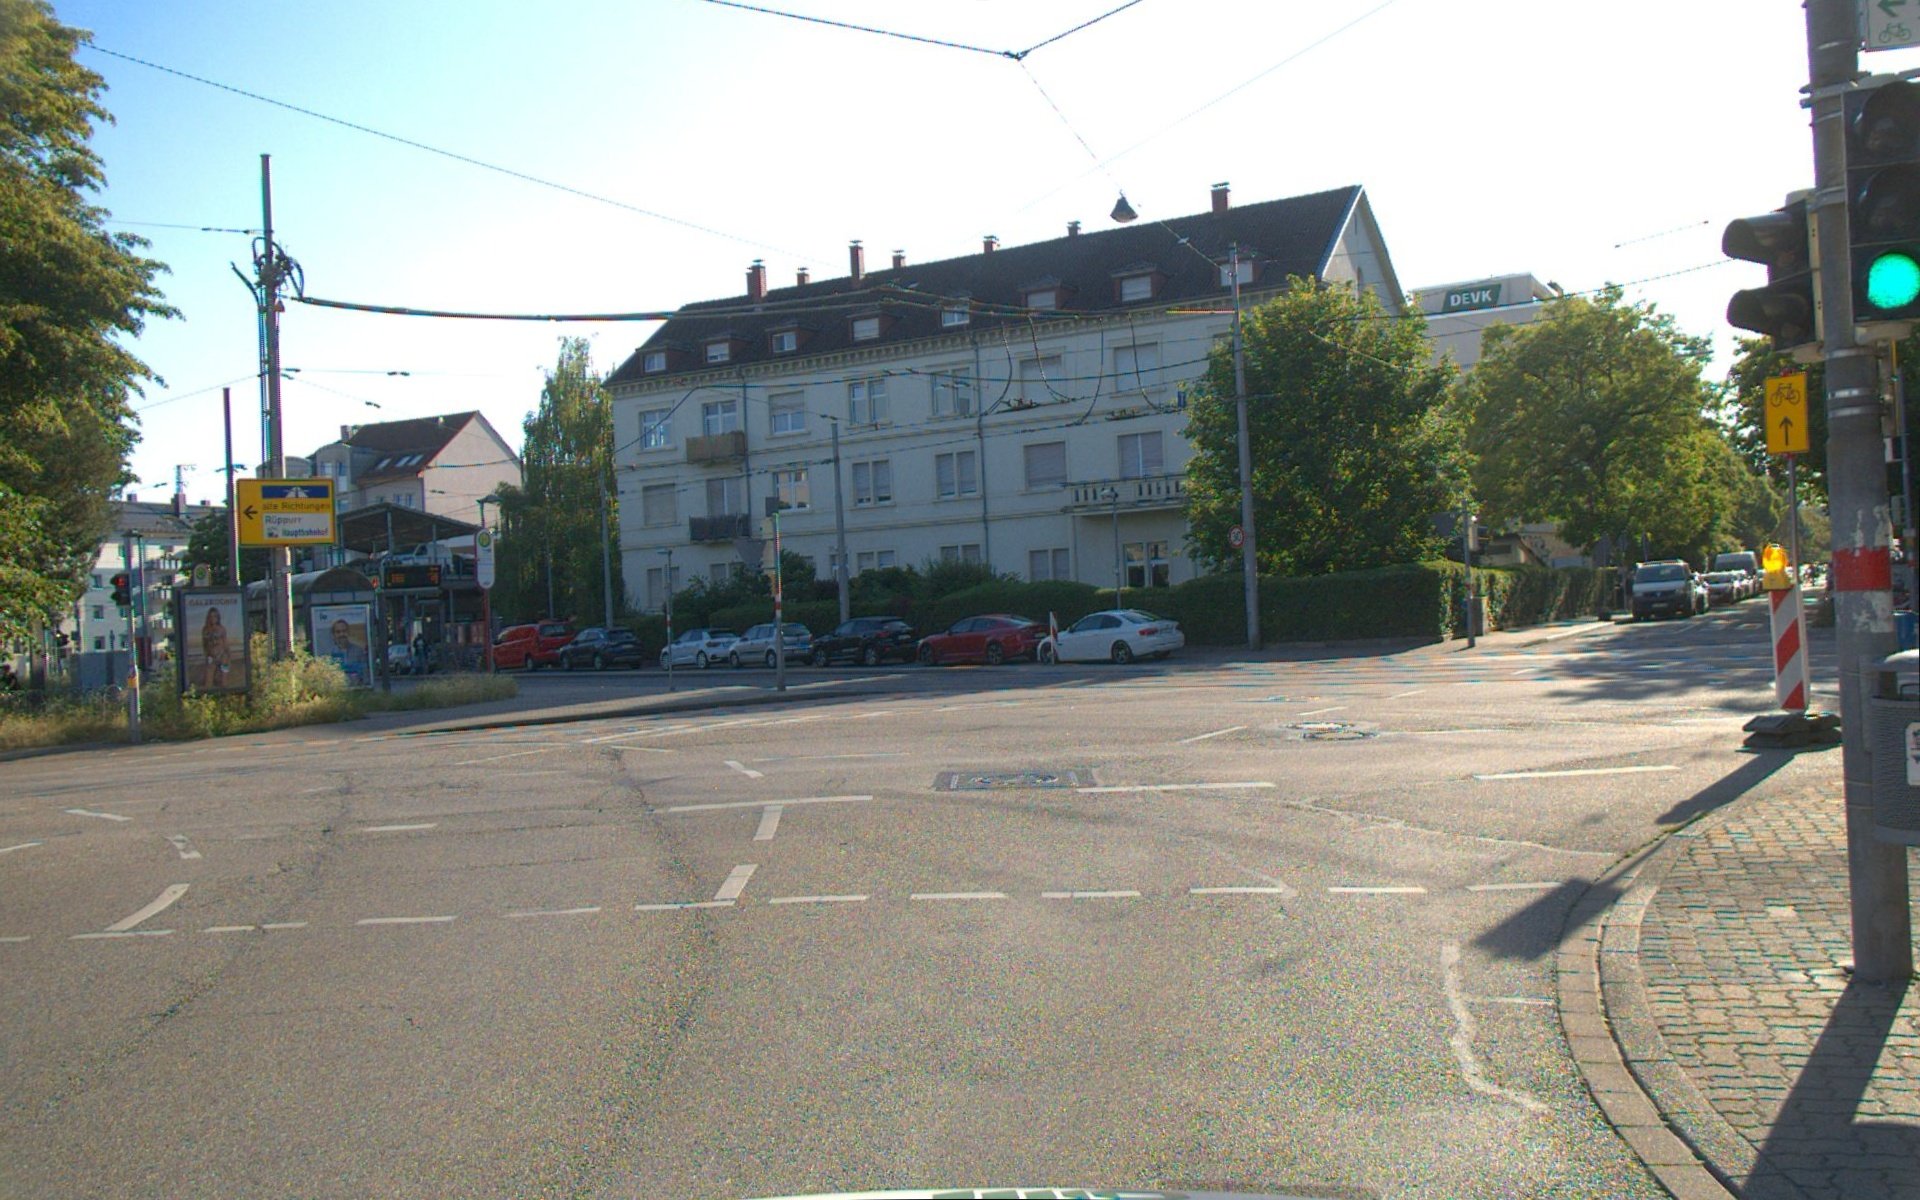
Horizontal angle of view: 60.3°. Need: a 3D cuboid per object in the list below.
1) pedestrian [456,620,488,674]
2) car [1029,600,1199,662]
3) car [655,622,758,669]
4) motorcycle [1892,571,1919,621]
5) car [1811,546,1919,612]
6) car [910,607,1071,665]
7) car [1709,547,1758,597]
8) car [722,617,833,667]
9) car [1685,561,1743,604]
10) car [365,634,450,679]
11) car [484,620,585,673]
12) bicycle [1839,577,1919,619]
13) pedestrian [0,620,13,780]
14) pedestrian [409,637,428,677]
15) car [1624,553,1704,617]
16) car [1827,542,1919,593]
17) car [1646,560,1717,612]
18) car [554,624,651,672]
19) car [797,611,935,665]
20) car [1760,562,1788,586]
[{"bbox_3d":[-18.890,1.819,64.033,0.914,2.049,0.759,-3,-1,-37],"label":"pedestrian"},{"bbox_3d":[4.150,0.870,45.071,1.916,1.400,4.426,-6,2,-43],"label":"car"},{"bbox_3d":[-9.246,1.674,60.077,1.830,1.472,3.899,-6,1,-41],"label":"car"},{"bbox_3d":[22.894,-0.130,38.520,1.912,1.128,0.837,-4,-1,24],"label":"motorcycle"},{"bbox_3d":[31.276,-0.735,54.614,5.510,1.958,2.360,-3,-2,26],"label":"car"},{"bbox_3d":[0.859,1.079,49.008,4.625,1.400,1.974,-4,2,44],"label":"car"},{"bbox_3d":[42.986,-1.538,91.911,2.308,2.558,5.305,-3,-1,26],"label":"car"},{"bbox_3d":[-6.277,1.458,56.637,1.971,1.472,3.663,-6,1,-41],"label":"car"},{"bbox_3d":[35.539,-0.827,77.923,2.308,1.826,5.305,-3,-1,26],"label":"car"},{"bbox_3d":[-27.294,2.806,81.612,2.039,1.995,5.073,-5,1,-41],"label":"car"},{"bbox_3d":[-18.250,2.008,70.796,2.039,1.995,5.073,-5,1,-41],"label":"car"},{"bbox_3d":[22.729,-0.048,40.908,1.690,0.949,0.671,-3,-1,29],"label":"bicycle"},{"bbox_3d":[-12.206,1.242,19.962,0.894,1.958,1.066,-3,-1,-4],"label":"pedestrian"},{"bbox_3d":[-21.282,2.246,65.013,0.560,1.527,0.672,-3,-1,-29],"label":"pedestrian"},{"bbox_3d":[25.274,-0.544,59.268,2.308,2.049,5.305,-3,-1,26],"label":"car"},{"bbox_3d":[40.721,-1.453,72.083,4.990,1.958,2.360,-3,-2,26],"label":"car"},{"bbox_3d":[28.267,-0.565,64.699,2.308,1.826,5.305,-3,-1,26],"label":"car"},{"bbox_3d":[-14.272,1.925,65.824,1.830,1.696,4.304,-6,1,-41],"label":"car"},{"bbox_3d":[-3.093,1.257,53.448,1.970,1.472,4.634,-6,1,-41],"label":"car"},{"bbox_3d":[63.863,-2.013,129.761,1.955,1.718,3.995,0,-1,27],"label":"car"}]
